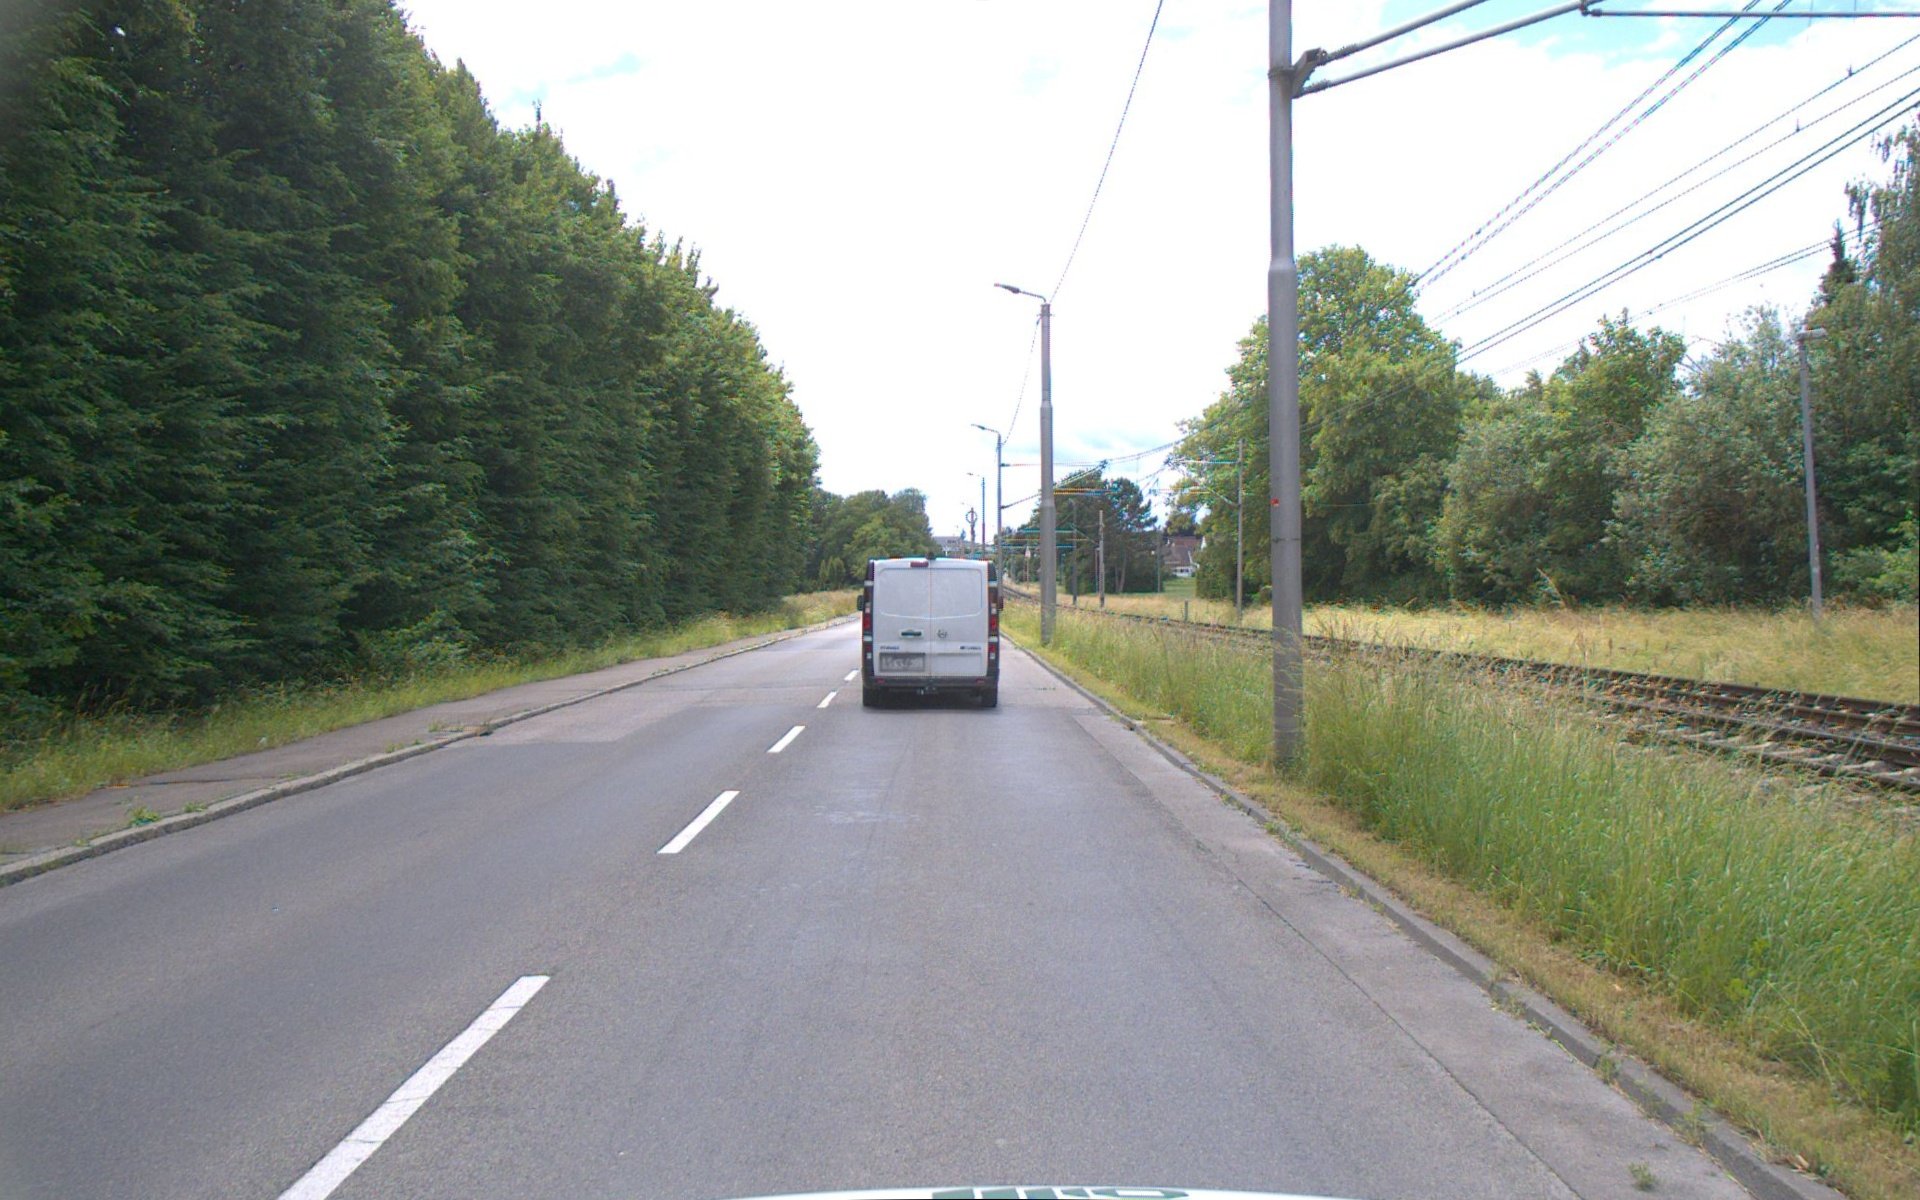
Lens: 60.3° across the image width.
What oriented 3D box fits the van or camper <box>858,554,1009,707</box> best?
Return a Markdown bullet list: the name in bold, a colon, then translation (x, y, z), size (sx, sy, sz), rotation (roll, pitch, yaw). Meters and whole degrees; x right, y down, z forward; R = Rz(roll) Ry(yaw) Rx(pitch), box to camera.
- **van or camper**: translation (-0.338, 0.382, 23.269), size (1.902, 1.930, 4.284), rotation (-1, 0, 0)
